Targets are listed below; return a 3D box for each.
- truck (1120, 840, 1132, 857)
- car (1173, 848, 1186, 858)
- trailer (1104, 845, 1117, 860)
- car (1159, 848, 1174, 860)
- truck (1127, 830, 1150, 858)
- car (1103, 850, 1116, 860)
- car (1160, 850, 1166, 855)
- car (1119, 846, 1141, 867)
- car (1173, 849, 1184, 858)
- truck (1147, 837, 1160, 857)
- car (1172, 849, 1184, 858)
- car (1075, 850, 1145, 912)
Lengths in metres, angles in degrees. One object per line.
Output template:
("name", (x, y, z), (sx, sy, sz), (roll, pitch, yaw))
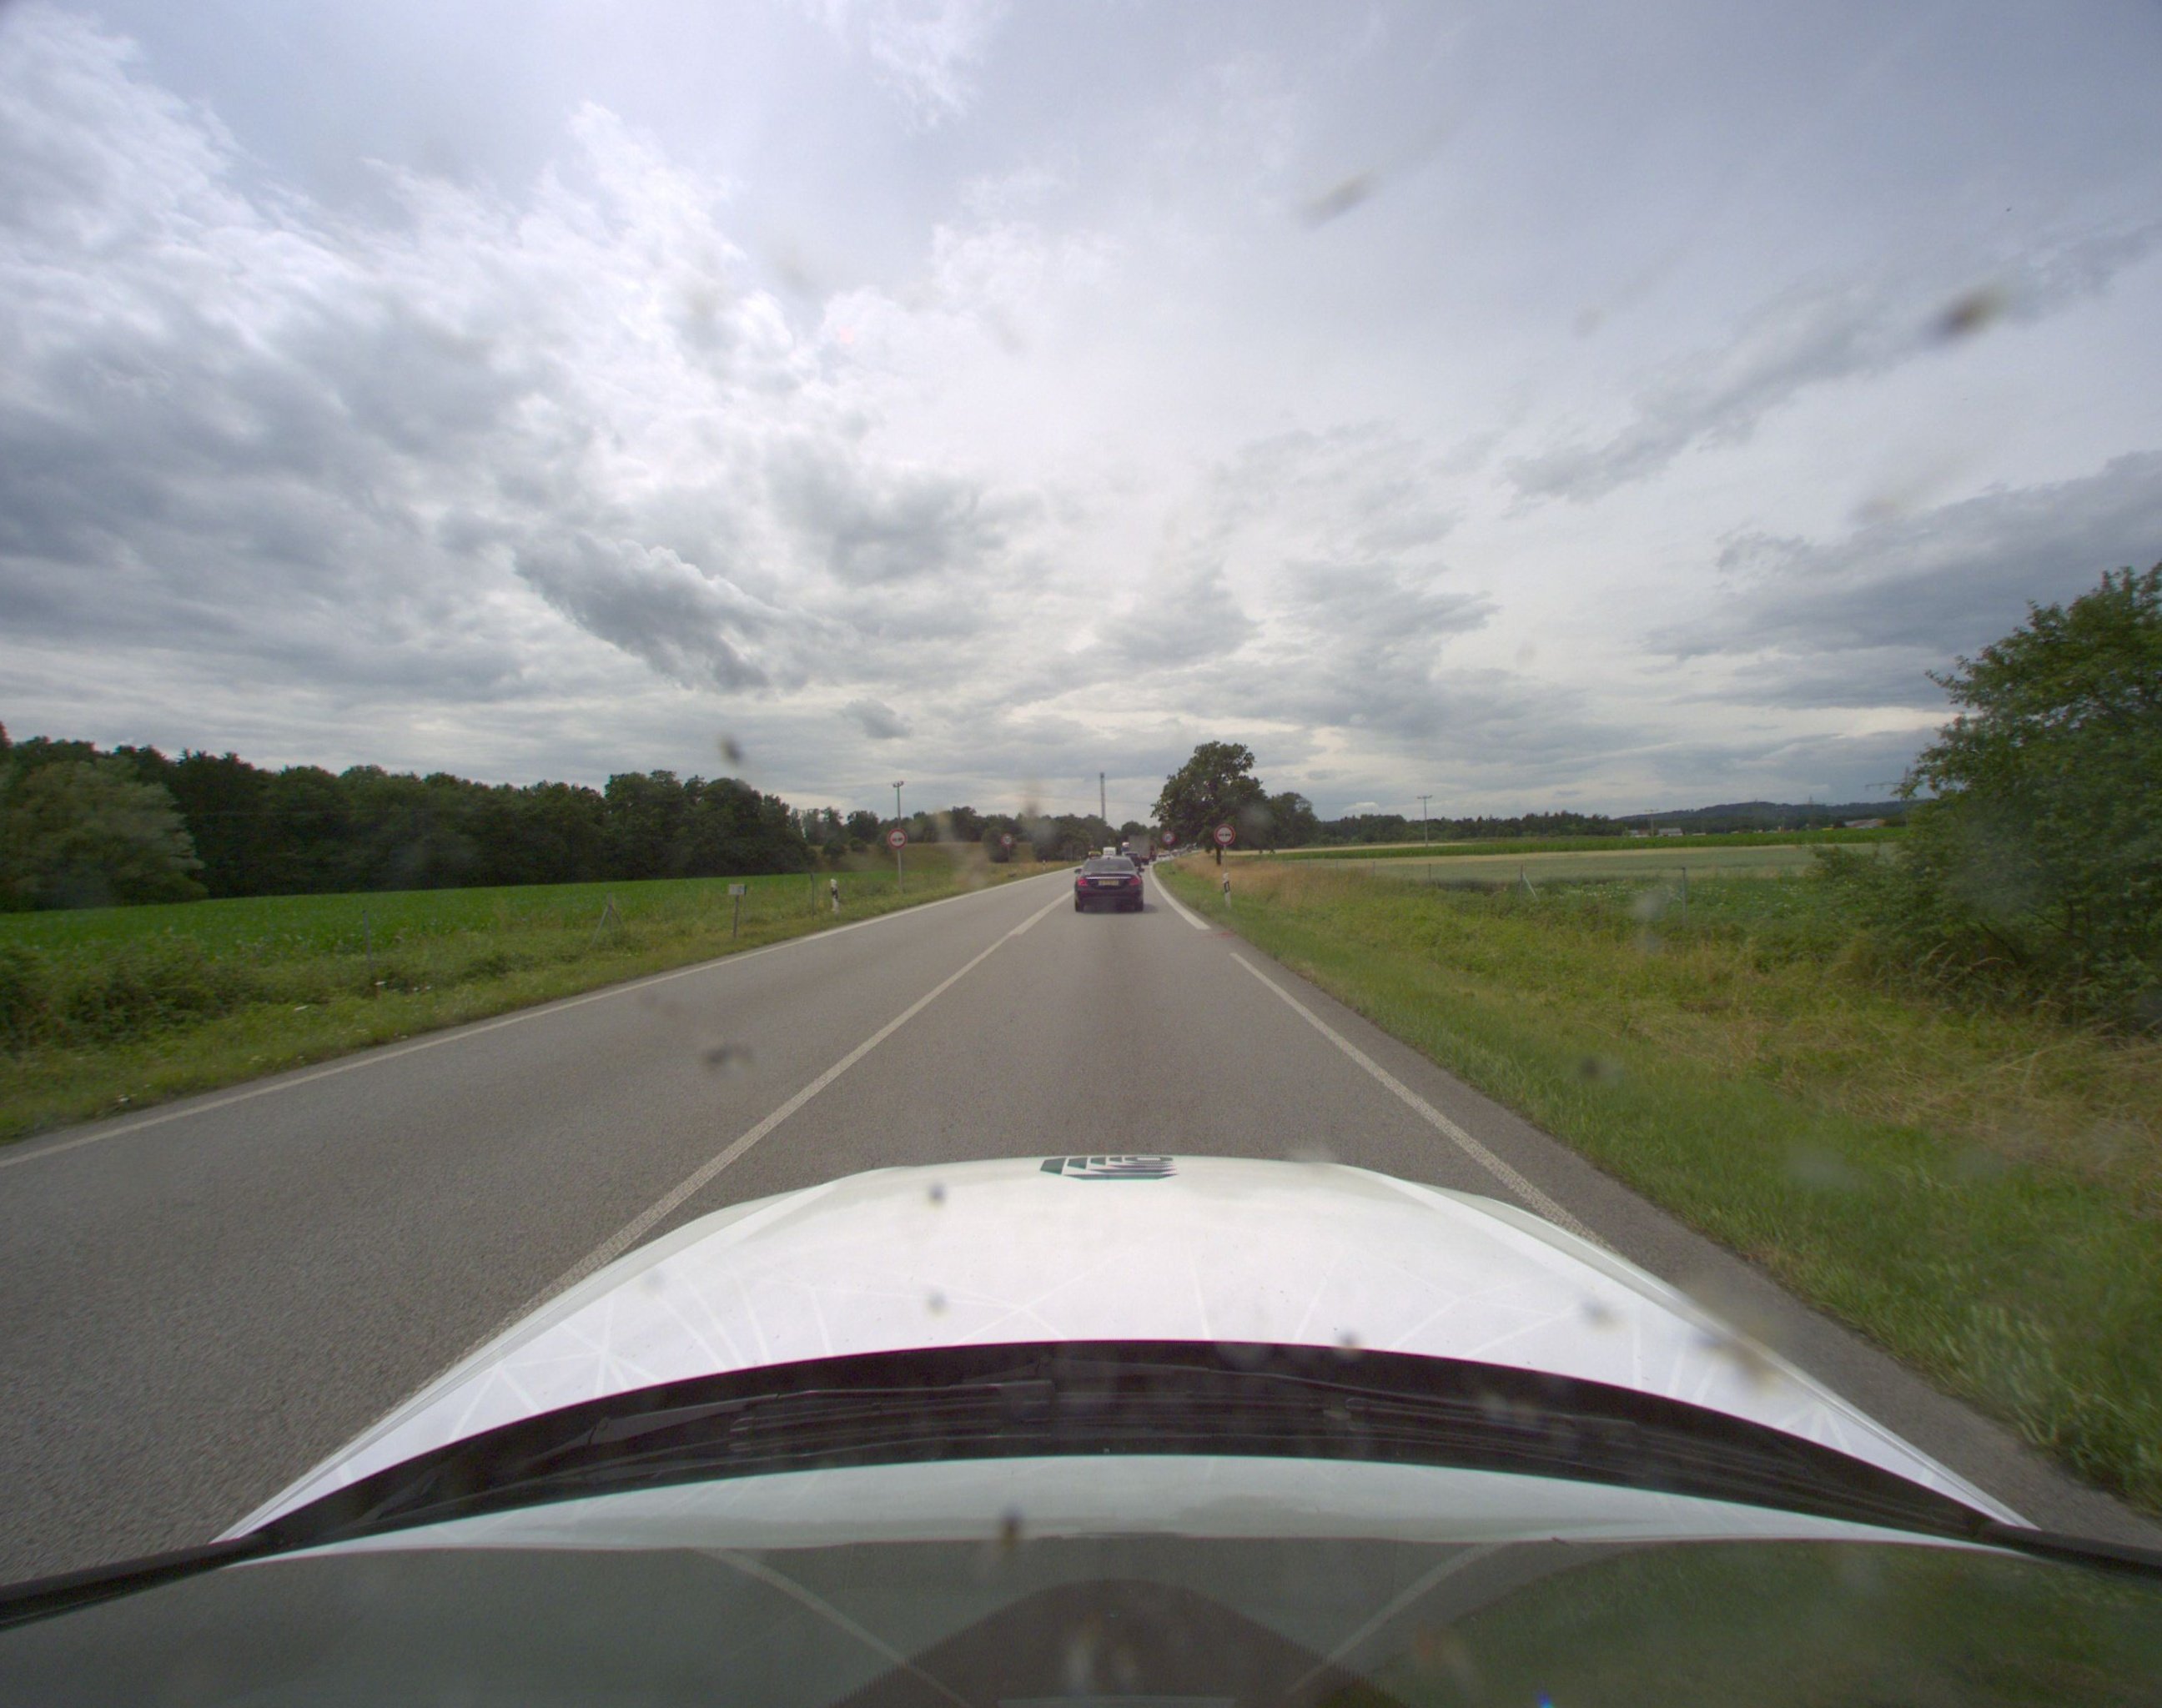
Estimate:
("truck", (10.764, -1.394, 194.793), (2.478, 3.995, 5.212), (-1, 0, 5))
("car", (16.671, -0.141, 137.802), (1.789, 1.662, 4.000), (0, 0, 1))
("trailer", (5.147, -0.205, 141.402), (2.172, 2.575, 6.250), (0, 0, 4))
("car", (12.436, 0.000, 118.224), (1.789, 1.662, 4.000), (0, 0, 1))
("truck", (7.375, -1.258, 103.874), (2.572, 3.524, 4.823), (0, 0, 8))
("car", (4.737, 0.206, 136.119), (1.997, 1.657, 4.331), (0, 0, 4))
("car", (21.447, -0.452, 213.274), (1.641, 1.395, 3.711), (0, 0, 5))
("car", (4.705, 0.243, 79.215), (1.987, 2.014, 4.000), (0, 0, 1))
("car", (19.881, -0.073, 166.136), (1.789, 1.662, 4.000), (0, 0, 1))
("truck", (12.848, -1.275, 144.536), (1.987, 3.526, 4.592), (0, 0, 1))
("car", (18.151, -0.047, 152.996), (1.789, 1.662, 4.000), (0, 0, 1))
("car", (0.762, 0.696, 22.632), (1.789, 1.560, 4.000), (0, 0, 1))
